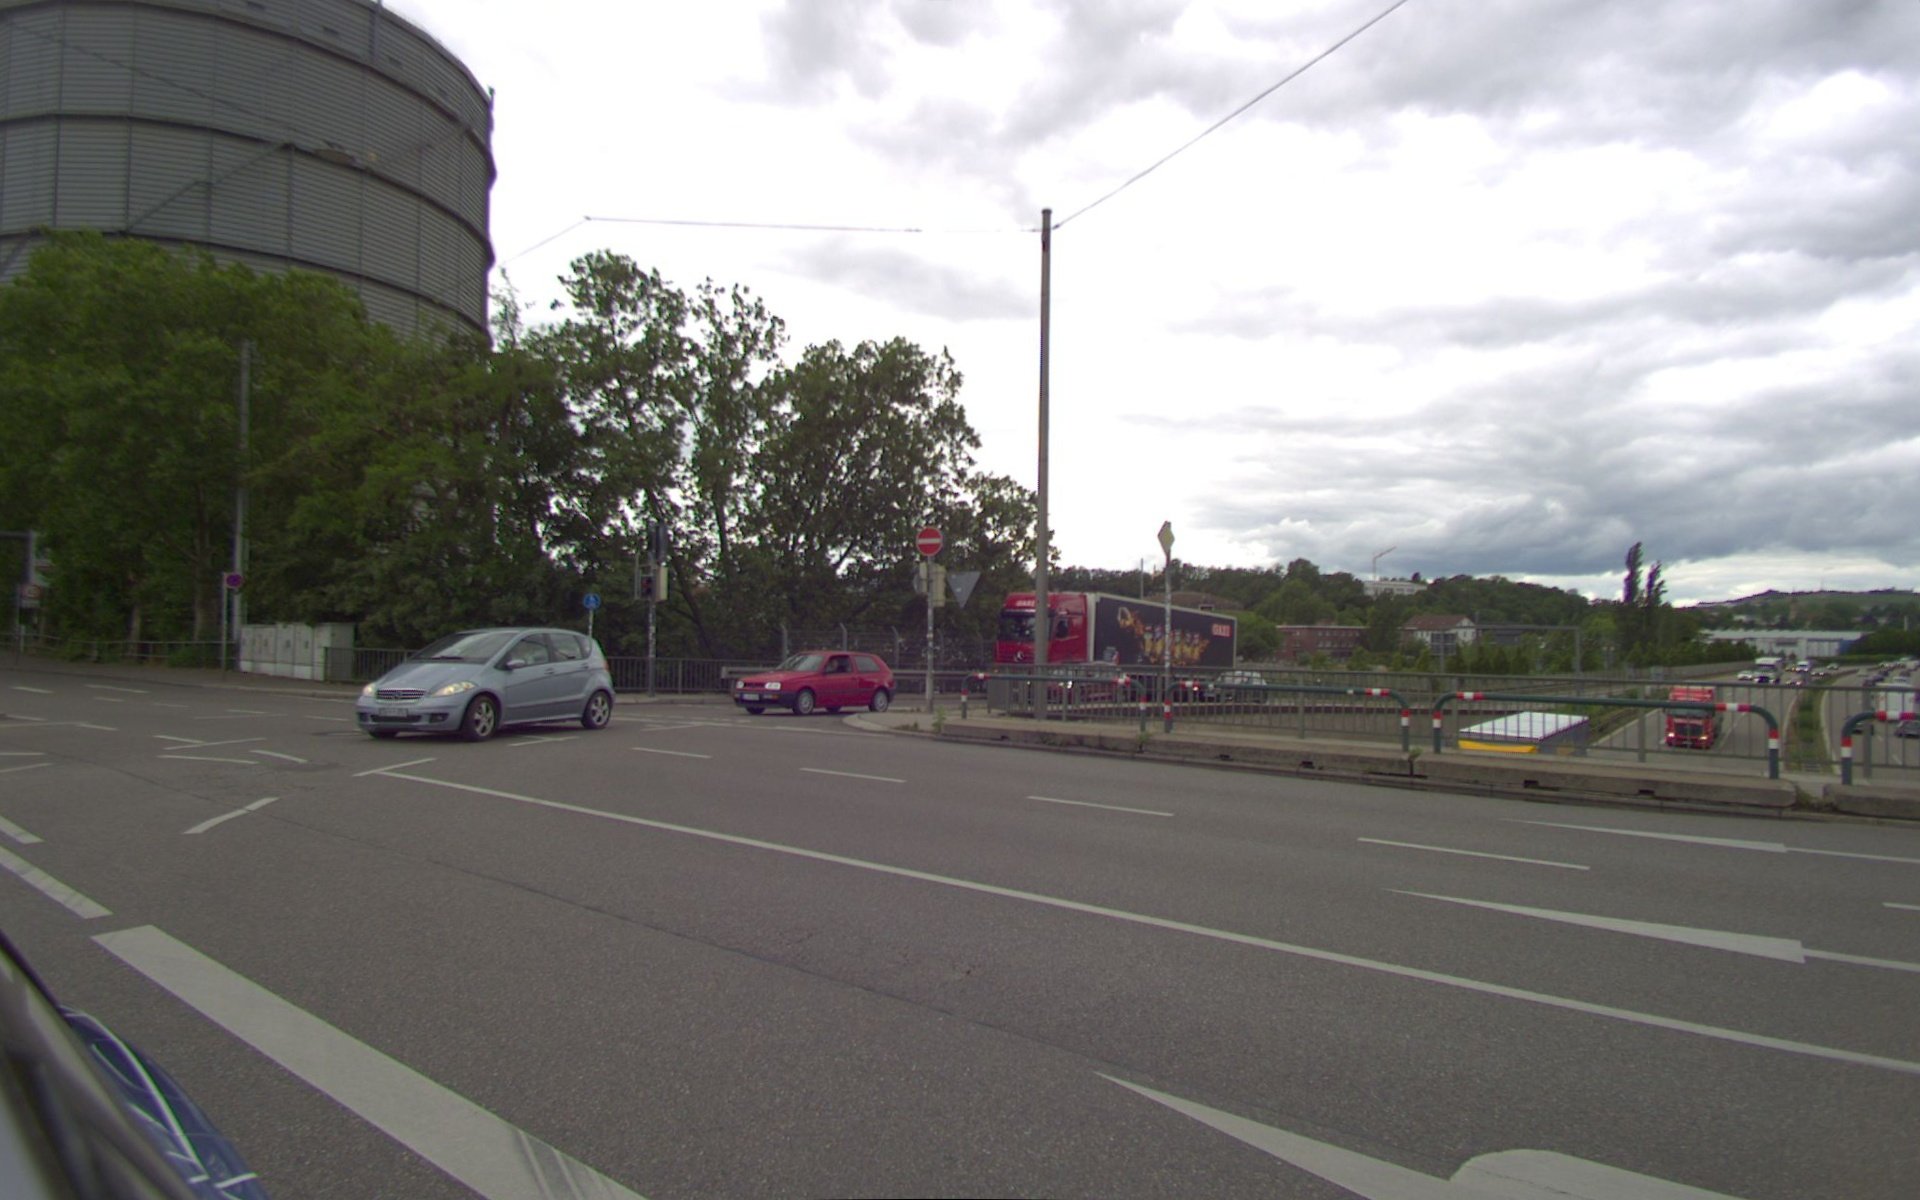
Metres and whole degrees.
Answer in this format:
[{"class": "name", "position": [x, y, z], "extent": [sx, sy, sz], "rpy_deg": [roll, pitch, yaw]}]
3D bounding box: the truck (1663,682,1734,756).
[{"class": "truck", "position": [53.555, 8.394, 73.197], "extent": [2.890, 4.389, 13.073], "rpy_deg": [0, -2, 42]}]

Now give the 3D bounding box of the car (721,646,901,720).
[{"class": "car", "position": [-3.226, 1.839, 22.605], "extent": [1.745, 1.474, 3.906], "rpy_deg": [-2, -5, 36]}]

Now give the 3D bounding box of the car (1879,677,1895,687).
[{"class": "car", "position": [165.644, 14.663, 180.879], "extent": [2.000, 1.730, 3.589], "rpy_deg": [1, -2, 42]}]

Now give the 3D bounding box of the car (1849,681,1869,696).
[{"class": "car", "position": [137.689, 13.494, 154.992], "extent": [2.224, 2.029, 4.578], "rpy_deg": [0, -3, 41]}]

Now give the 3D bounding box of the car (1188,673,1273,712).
[{"class": "car", "position": [11.056, 3.740, 41.137], "extent": [1.696, 1.431, 4.409], "rpy_deg": [-2, -5, 39]}]

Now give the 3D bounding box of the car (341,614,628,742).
[{"class": "car", "position": [-6.755, 1.121, 14.827], "extent": [1.734, 1.616, 3.660], "rpy_deg": [0, -4, 18]}]

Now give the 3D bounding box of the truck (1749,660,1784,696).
[{"class": "truck", "position": [124.455, 11.913, 156.130], "extent": [3.378, 4.992, 13.743], "rpy_deg": [-2, -3, 42]}]

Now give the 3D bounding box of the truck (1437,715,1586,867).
[{"class": "truck", "position": [20.987, 6.827, 38.127], "extent": [2.901, 4.215, 9.889], "rpy_deg": [2, -1, 40]}]

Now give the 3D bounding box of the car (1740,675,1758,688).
[{"class": "car", "position": [133.020, 13.763, 170.512], "extent": [2.000, 2.029, 3.943], "rpy_deg": [-3, -6, 43]}]

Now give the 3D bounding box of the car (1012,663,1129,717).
[{"class": "car", "position": [3.548, 2.754, 31.774], "extent": [1.694, 1.431, 4.412], "rpy_deg": [-2, -2, 36]}]

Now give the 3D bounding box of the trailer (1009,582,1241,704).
[{"class": "trailer", "position": [7.452, 2.091, 42.636], "extent": [3.666, 4.355, 13.606], "rpy_deg": [-2, -5, 37]}]

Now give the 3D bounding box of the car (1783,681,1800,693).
[{"class": "car", "position": [126.830, 13.234, 154.352], "extent": [1.913, 1.730, 3.589], "rpy_deg": [1, -2, 42]}]

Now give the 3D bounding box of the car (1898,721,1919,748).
[{"class": "car", "position": [75.521, 10.606, 79.685], "extent": [2.137, 1.730, 4.366], "rpy_deg": [1, -1, 40]}]

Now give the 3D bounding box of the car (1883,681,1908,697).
[{"class": "car", "position": [140.978, 13.378, 152.531], "extent": [2.598, 2.029, 4.577], "rpy_deg": [1, -2, 41]}]

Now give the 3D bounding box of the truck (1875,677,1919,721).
[{"class": "truck", "position": [87.067, 9.077, 93.319], "extent": [3.593, 3.482, 8.129], "rpy_deg": [2, -1, 40]}]

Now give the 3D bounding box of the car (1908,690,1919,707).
[{"class": "car", "position": [116.681, 12.004, 122.776], "extent": [2.137, 1.730, 4.366], "rpy_deg": [1, -1, 40]}]

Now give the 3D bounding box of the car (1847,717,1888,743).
[{"class": "car", "position": [73.287, 10.468, 81.787], "extent": [2.337, 1.730, 4.666], "rpy_deg": [-4, -4, 42]}]

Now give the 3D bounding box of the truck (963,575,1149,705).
[{"class": "truck", "position": [3.775, 1.659, 37.886], "extent": [3.666, 4.355, 7.143], "rpy_deg": [-2, -5, 37]}]
